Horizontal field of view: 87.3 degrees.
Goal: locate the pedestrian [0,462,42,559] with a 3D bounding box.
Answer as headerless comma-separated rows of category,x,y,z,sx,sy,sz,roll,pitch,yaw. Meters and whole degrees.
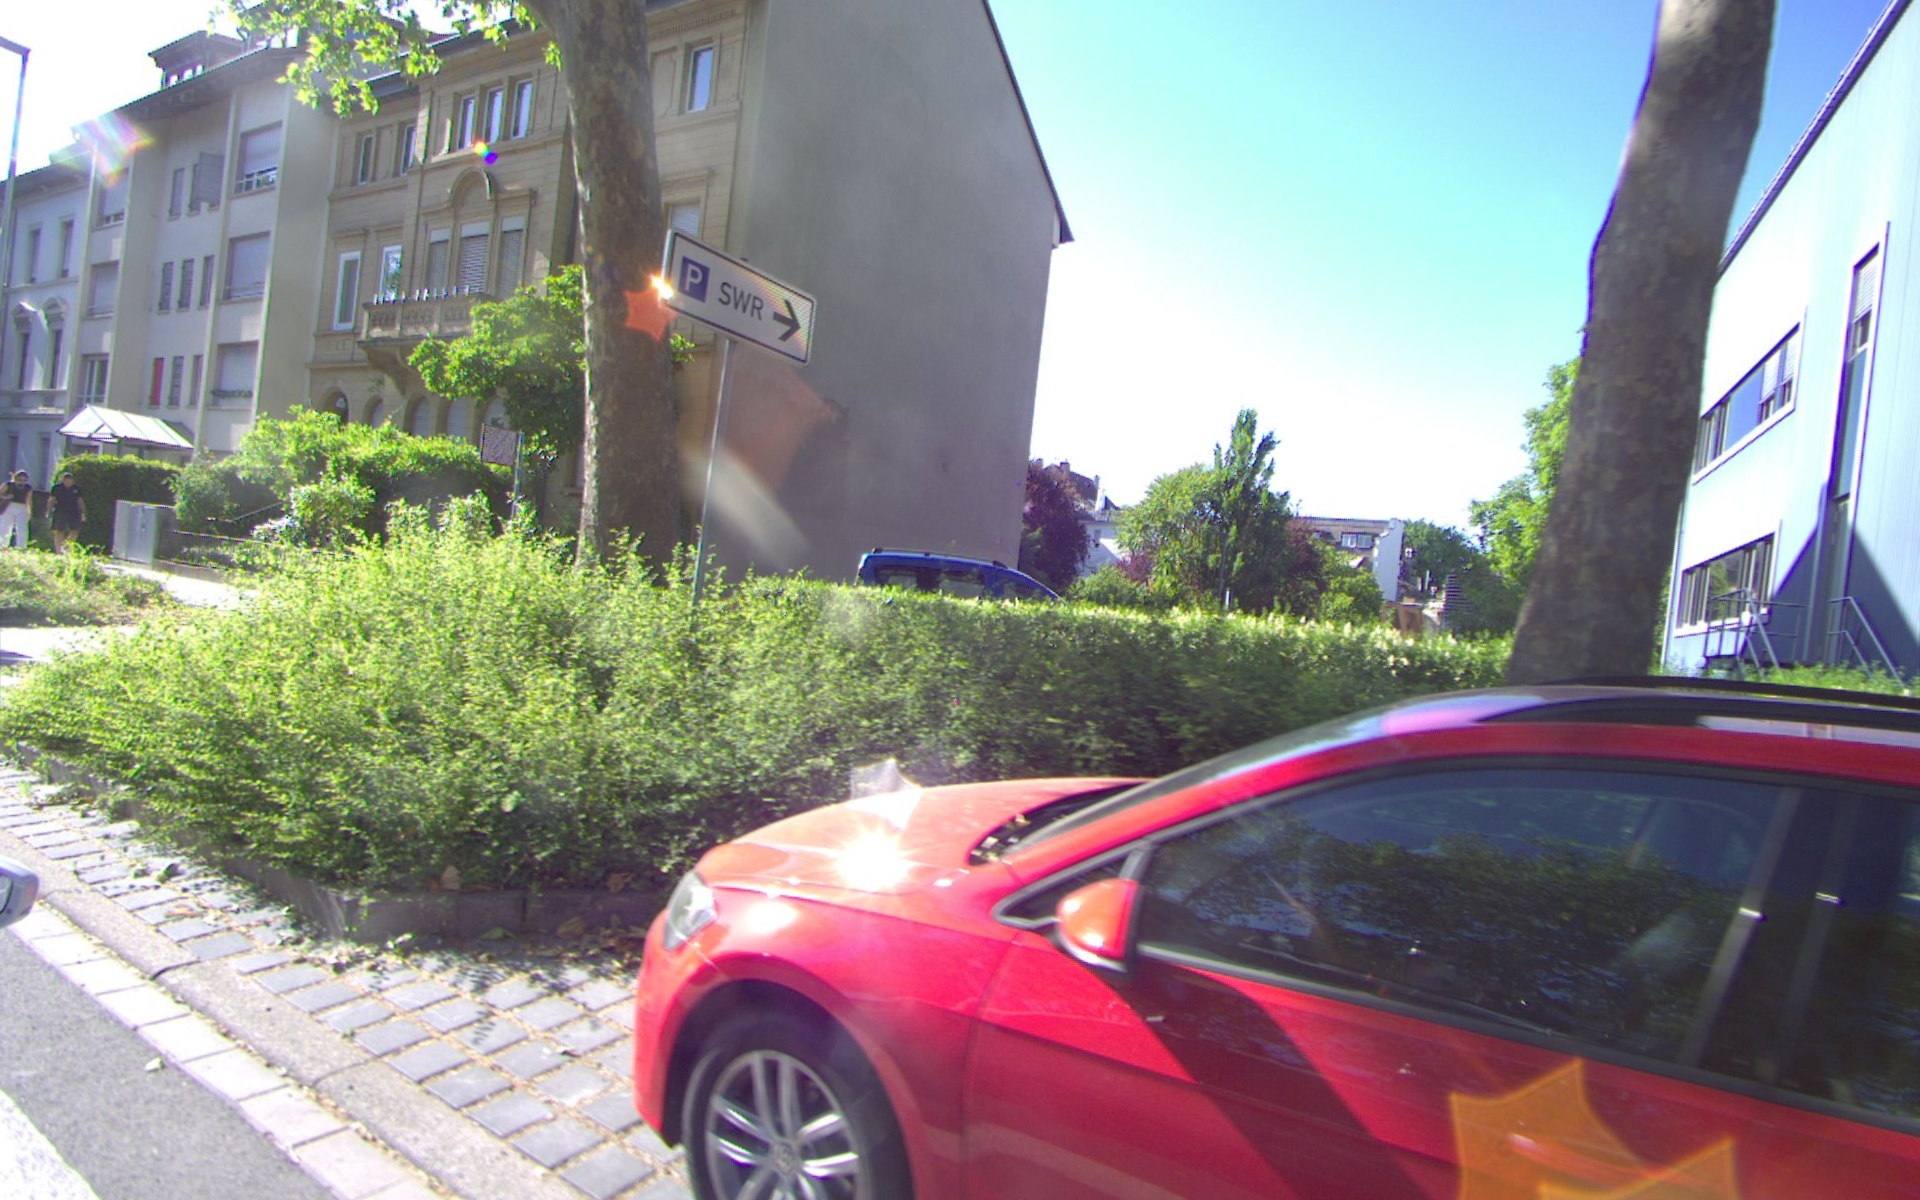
pedestrian,-18.570,-1.757,19.703,0.862,1.777,0.674,7,1,41

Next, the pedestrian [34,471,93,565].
pedestrian,-18.023,-1.651,20.216,0.999,1.777,0.653,7,1,41

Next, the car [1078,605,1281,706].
car,4.365,1.096,20.364,3.484,1.652,1.856,5,0,-7

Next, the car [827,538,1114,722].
car,0.116,0.408,13.616,3.444,1.875,1.710,8,-1,-2

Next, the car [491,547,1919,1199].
car,1.340,0.900,1.984,4.600,1.526,1.823,6,0,32
